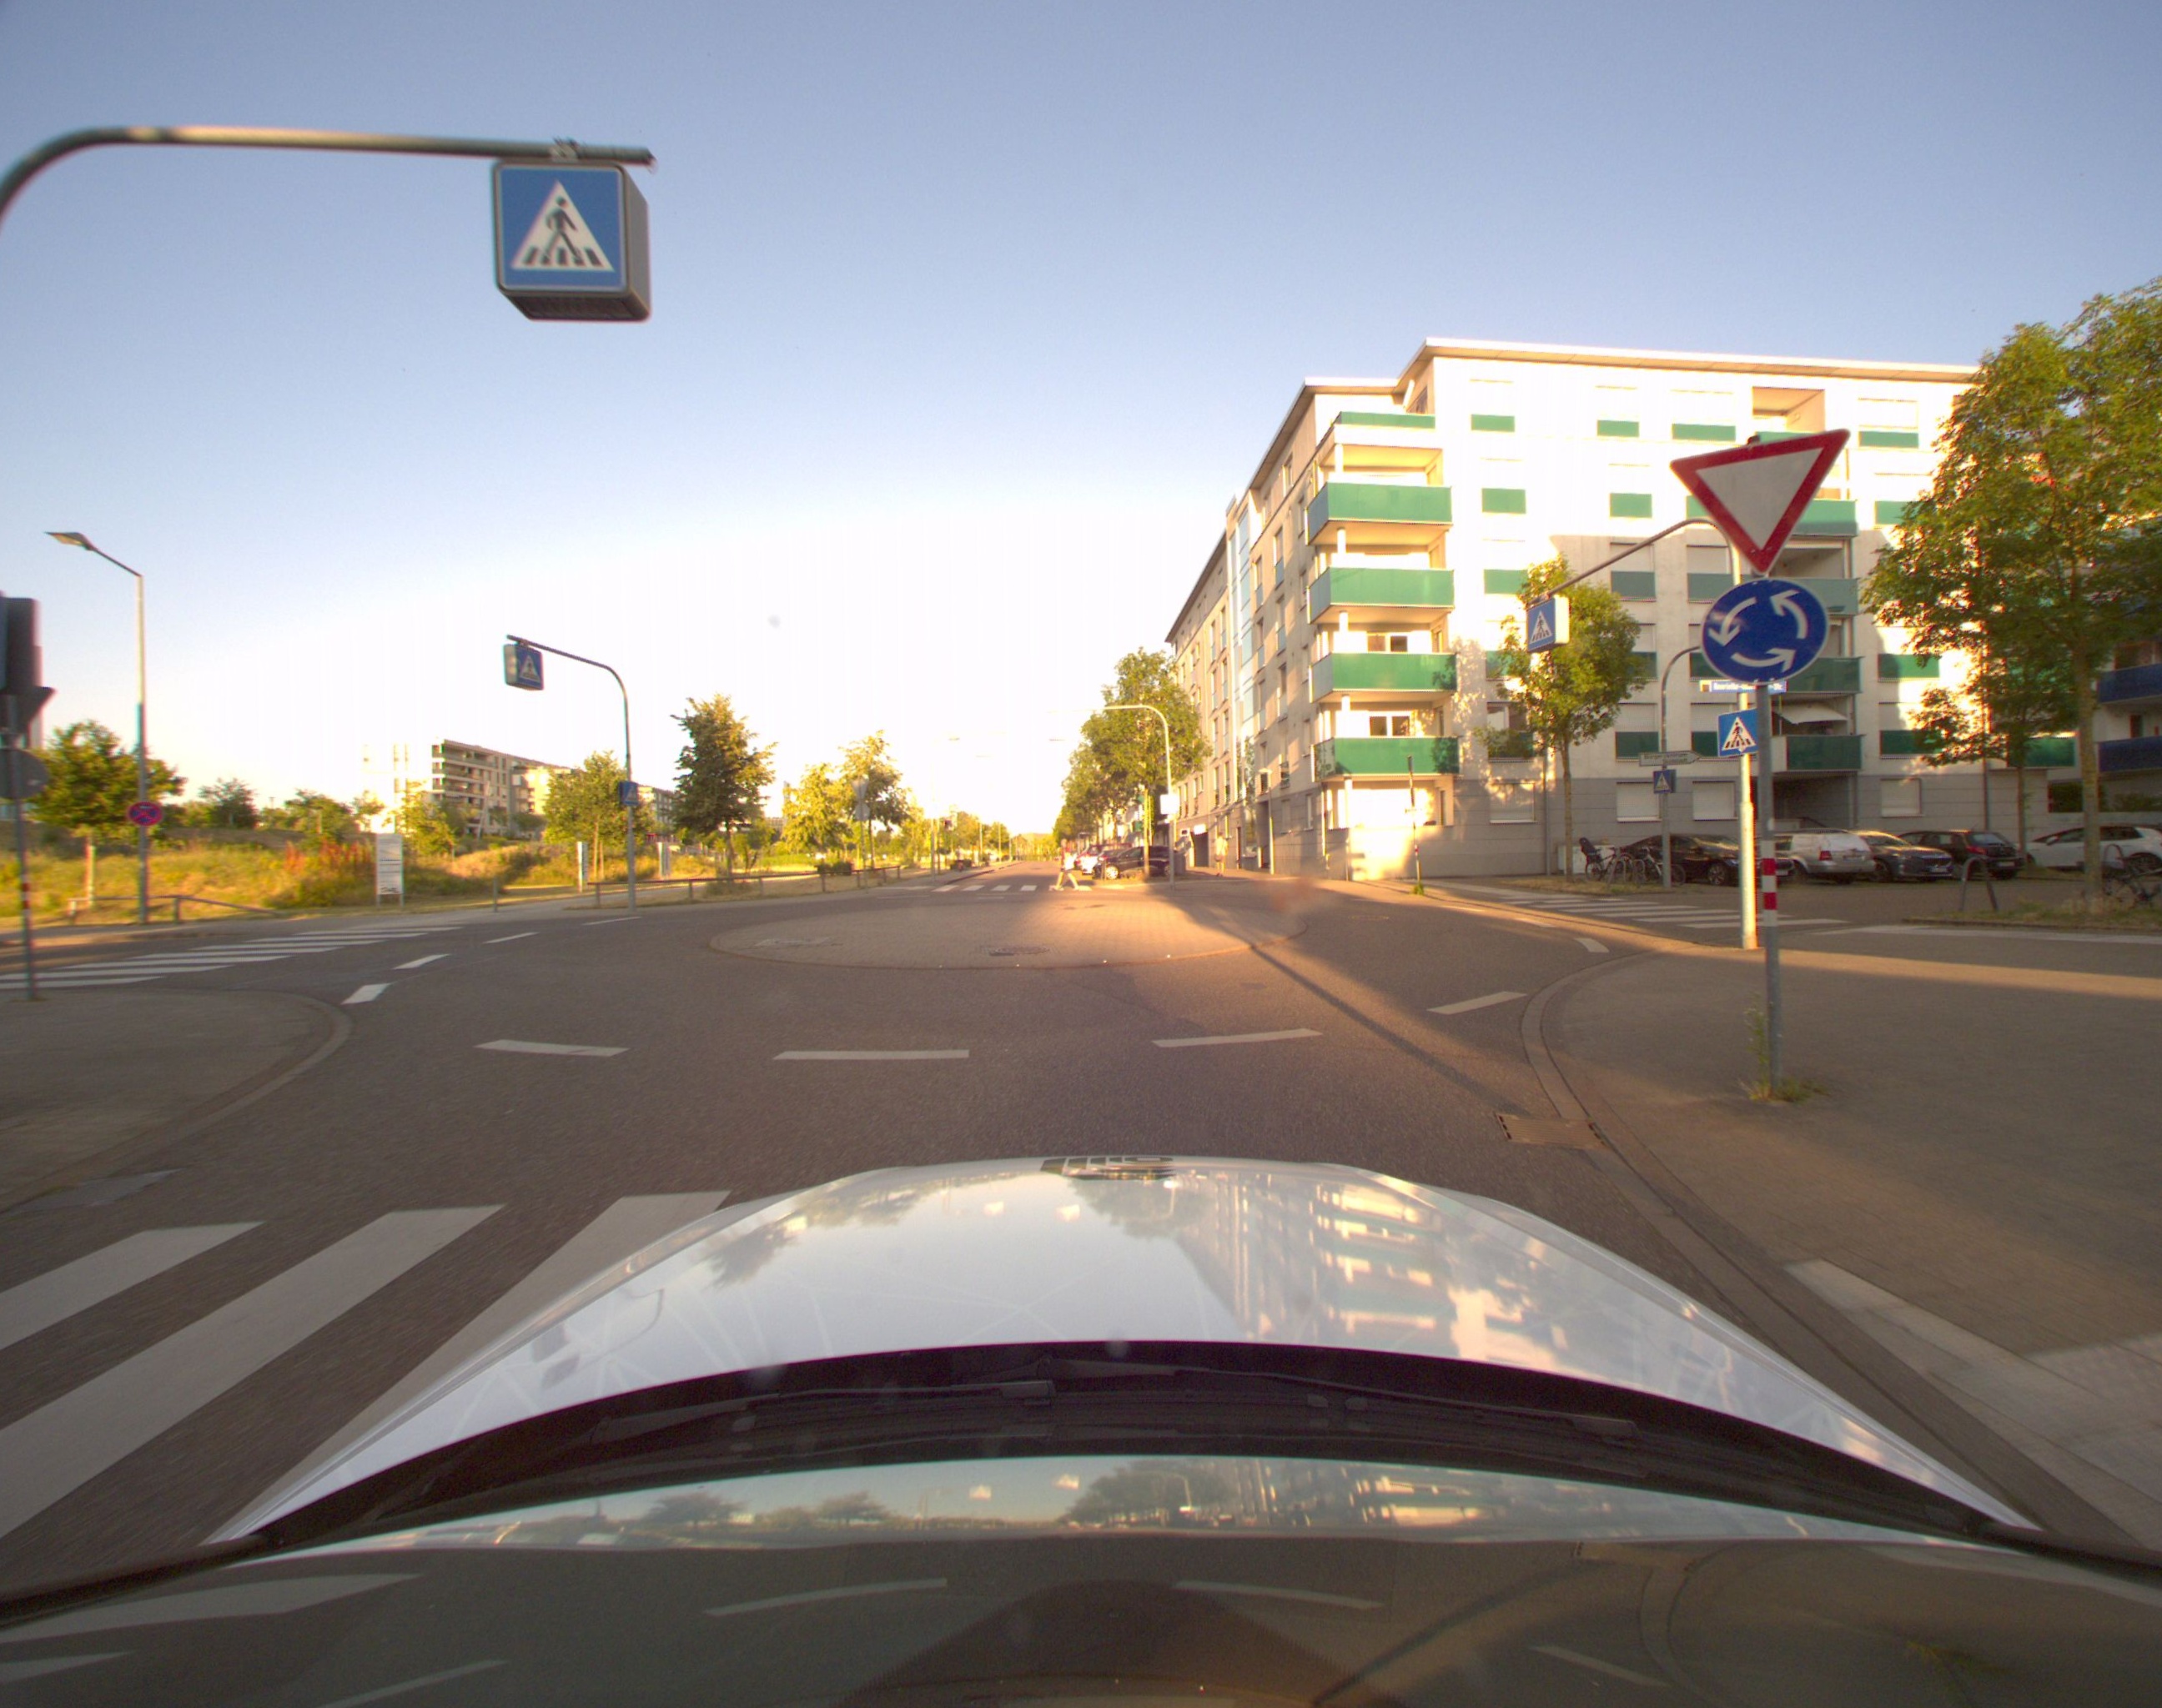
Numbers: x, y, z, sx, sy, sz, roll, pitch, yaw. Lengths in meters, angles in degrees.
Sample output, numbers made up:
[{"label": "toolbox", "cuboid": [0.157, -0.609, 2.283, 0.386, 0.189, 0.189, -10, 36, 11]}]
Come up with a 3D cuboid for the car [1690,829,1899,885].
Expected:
[{"label": "car", "cuboid": [20.812, 0.081, 24.082, 1.990, 1.453, 4.587, -2, 0, -4]}]

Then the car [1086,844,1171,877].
[{"label": "car", "cuboid": [2.456, 0.317, 43.184, 4.343, 1.596, 1.999, -2, 0, -2]}]

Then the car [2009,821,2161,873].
[{"label": "car", "cuboid": [32.969, -0.231, 25.710, 1.990, 1.553, 4.587, -2, 0, -4]}]

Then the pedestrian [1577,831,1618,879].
[{"label": "pedestrian", "cuboid": [15.169, 0.024, 23.933, 0.656, 1.355, 0.801, -2, 0, -5]}]

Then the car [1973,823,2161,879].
[{"label": "car", "cuboid": [30.845, -0.101, 24.890, 1.990, 1.553, 4.587, -2, 0, -4]}]

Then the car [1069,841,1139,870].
[{"label": "car", "cuboid": [1.700, 0.119, 61.144, 4.998, 2.045, 2.245, -2, 0, -7]}]

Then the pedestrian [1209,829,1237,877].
[{"label": "pedestrian", "cuboid": [6.099, -0.054, 35.081, 0.939, 2.013, 0.847, -2, 0, -7]}]

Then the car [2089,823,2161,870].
[{"label": "car", "cuboid": [36.260, -0.265, 26.143, 1.990, 1.553, 4.587, -2, 0, -4]}]

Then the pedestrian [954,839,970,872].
[{"label": "pedestrian", "cuboid": [-7.431, 0.104, 50.930, 0.867, 2.013, 0.786, -1, 0, -13]}]

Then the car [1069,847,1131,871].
[{"label": "car", "cuboid": [1.332, 0.344, 58.079, 4.254, 1.596, 1.998, -2, 0, -4]}]

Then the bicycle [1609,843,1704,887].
[{"label": "bicycle", "cuboid": [16.069, 0.299, 22.838, 0.686, 1.151, 2.517, -2, 0, -5]}]

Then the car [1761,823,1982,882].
[{"label": "car", "cuboid": [23.402, -0.047, 24.416, 1.990, 1.553, 4.587, -2, 0, -4]}]

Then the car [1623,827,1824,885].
[{"label": "car", "cuboid": [18.318, 0.056, 23.556, 1.990, 1.453, 4.587, -2, 0, -4]}]

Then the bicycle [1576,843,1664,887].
[{"label": "bicycle", "cuboid": [15.243, 0.294, 23.136, 0.695, 1.151, 2.456, -2, 0, -5]}]

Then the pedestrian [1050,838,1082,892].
[{"label": "pedestrian", "cuboid": [-0.507, 0.368, 27.810, 1.003, 1.788, 0.760, 0, 0, -9]}]

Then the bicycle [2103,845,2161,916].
[{"label": "bicycle", "cuboid": [17.396, 0.394, 12.525, 0.721, 1.114, 1.937, -2, -3, -7]}]

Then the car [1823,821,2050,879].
[{"label": "car", "cuboid": [25.960, -0.110, 25.005, 1.990, 1.553, 4.587, -2, 0, -4]}]

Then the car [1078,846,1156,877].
[{"label": "car", "cuboid": [2.001, 0.424, 45.896, 4.252, 1.596, 1.999, -2, 0, -2]}]

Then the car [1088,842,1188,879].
[{"label": "car", "cuboid": [2.608, 0.292, 37.993, 4.472, 1.596, 1.999, -2, 0, -2]}]

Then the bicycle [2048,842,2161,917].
[{"label": "bicycle", "cuboid": [16.502, 0.385, 12.551, 0.721, 1.114, 1.937, -2, -3, -7]}]
